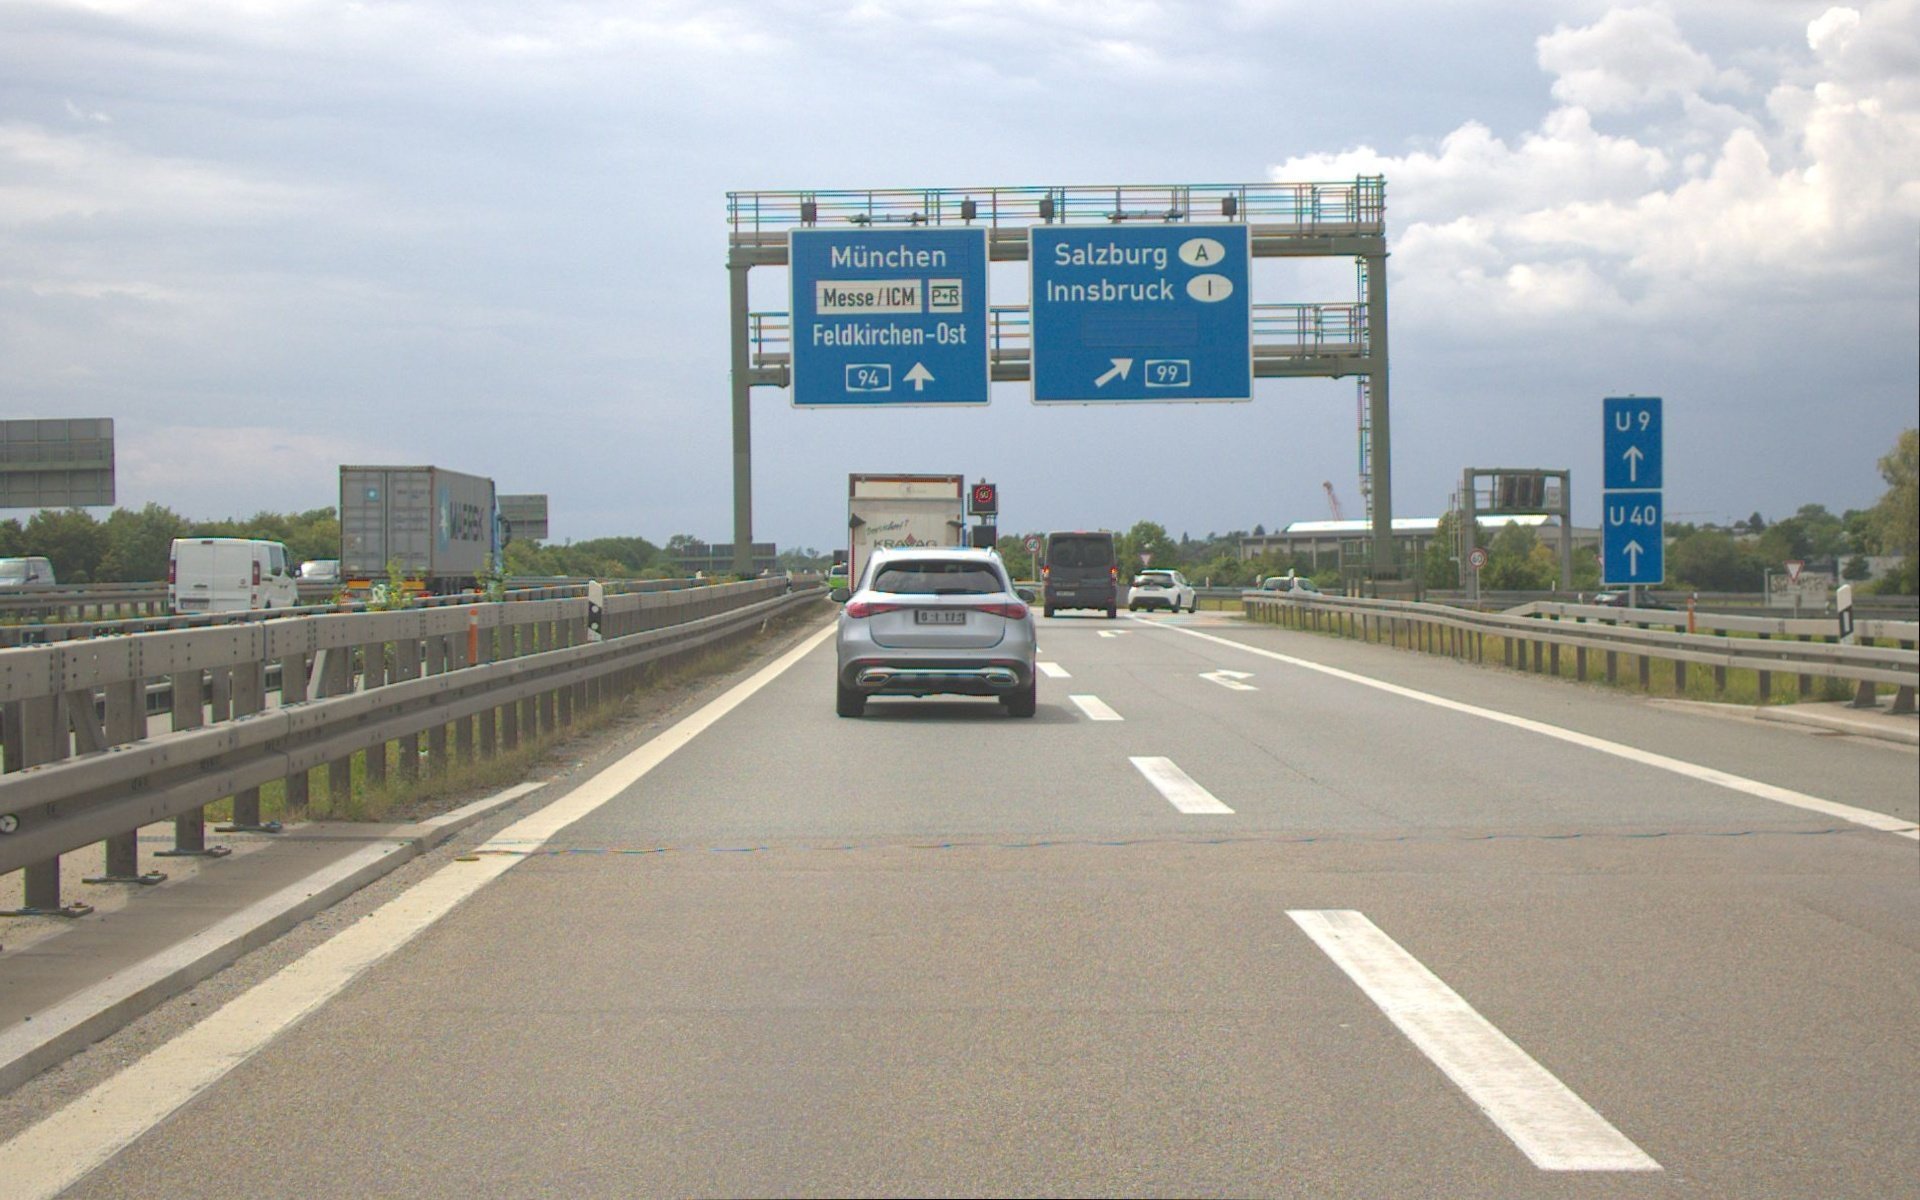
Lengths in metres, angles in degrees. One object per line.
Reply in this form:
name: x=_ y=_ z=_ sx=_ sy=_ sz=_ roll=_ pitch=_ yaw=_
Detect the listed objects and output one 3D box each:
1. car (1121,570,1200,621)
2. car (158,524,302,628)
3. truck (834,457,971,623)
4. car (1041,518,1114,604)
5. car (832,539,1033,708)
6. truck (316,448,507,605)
car: x=7.094 y=-0.170 z=121.364 sx=1.995 sy=1.703 sz=3.997 roll=1 pitch=1 yaw=15
car: x=-14.819 y=-0.519 z=69.993 sx=1.993 sy=2.007 sz=4.375 roll=1 pitch=1 yaw=0
truck: x=-1.130 y=-1.136 z=69.539 sx=2.569 sy=3.115 sz=8.634 roll=1 pitch=0 yaw=-1
car: x=3.193 y=-1.086 z=93.437 sx=1.906 sy=2.254 sz=4.649 roll=1 pitch=1 yaw=2
car: x=-0.264 y=0.181 z=33.583 sx=1.819 sy=1.509 sz=4.000 roll=1 pitch=1 yaw=0
truck: x=-15.201 y=-2.086 z=96.714 sx=3.183 sy=4.005 sz=16.077 roll=1 pitch=1 yaw=-2
